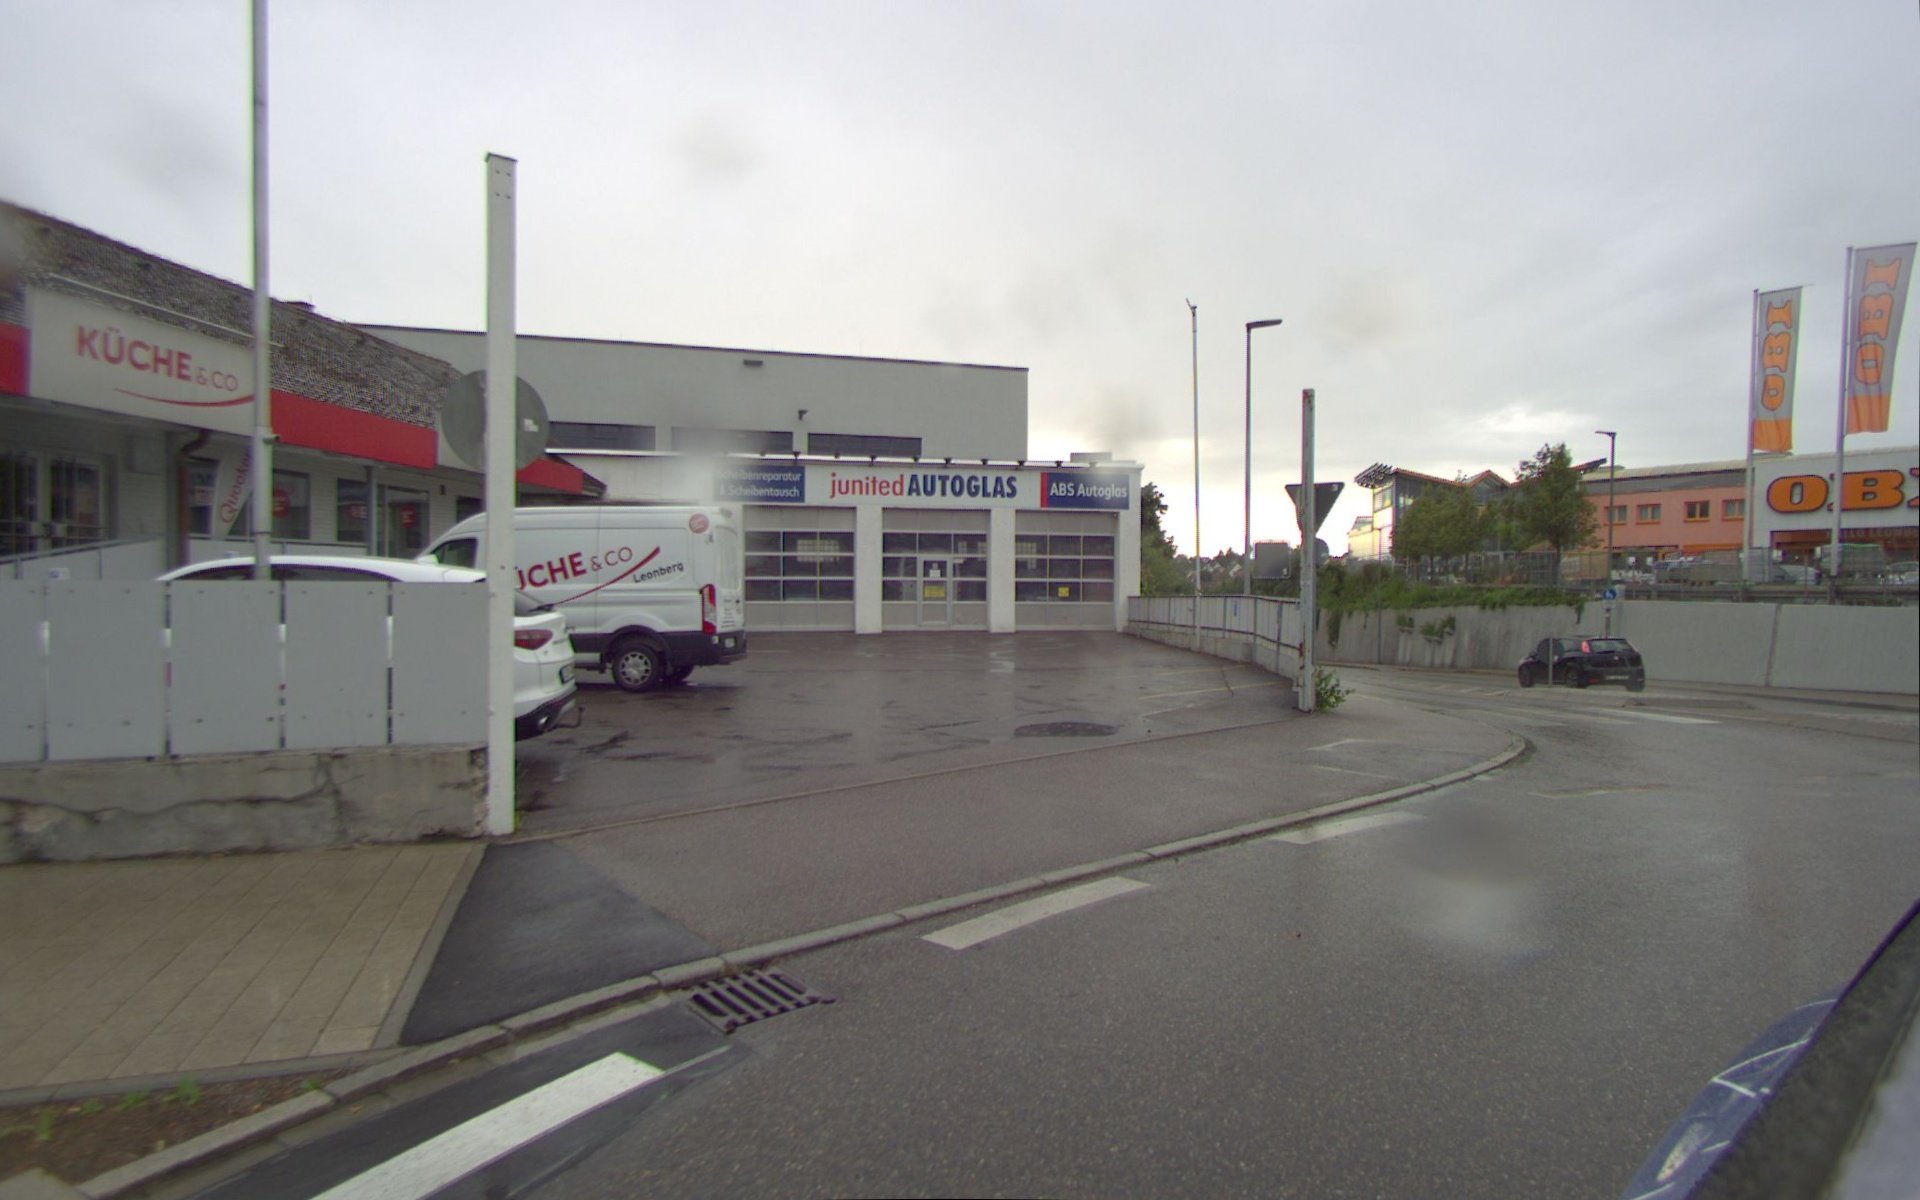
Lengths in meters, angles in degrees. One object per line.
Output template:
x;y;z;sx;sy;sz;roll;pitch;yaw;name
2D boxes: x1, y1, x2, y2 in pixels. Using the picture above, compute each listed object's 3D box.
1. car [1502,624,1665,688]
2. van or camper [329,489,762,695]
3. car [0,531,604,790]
16.592;1.425;27.289;1.969;1.400;5.325;0;0;11;car
-5.571;-0.123;14.129;5.165;2.572;2.129;1;0;1;van or camper
-5.062;0.406;7.912;4.083;1.712;1.851;1;0;-12;car
